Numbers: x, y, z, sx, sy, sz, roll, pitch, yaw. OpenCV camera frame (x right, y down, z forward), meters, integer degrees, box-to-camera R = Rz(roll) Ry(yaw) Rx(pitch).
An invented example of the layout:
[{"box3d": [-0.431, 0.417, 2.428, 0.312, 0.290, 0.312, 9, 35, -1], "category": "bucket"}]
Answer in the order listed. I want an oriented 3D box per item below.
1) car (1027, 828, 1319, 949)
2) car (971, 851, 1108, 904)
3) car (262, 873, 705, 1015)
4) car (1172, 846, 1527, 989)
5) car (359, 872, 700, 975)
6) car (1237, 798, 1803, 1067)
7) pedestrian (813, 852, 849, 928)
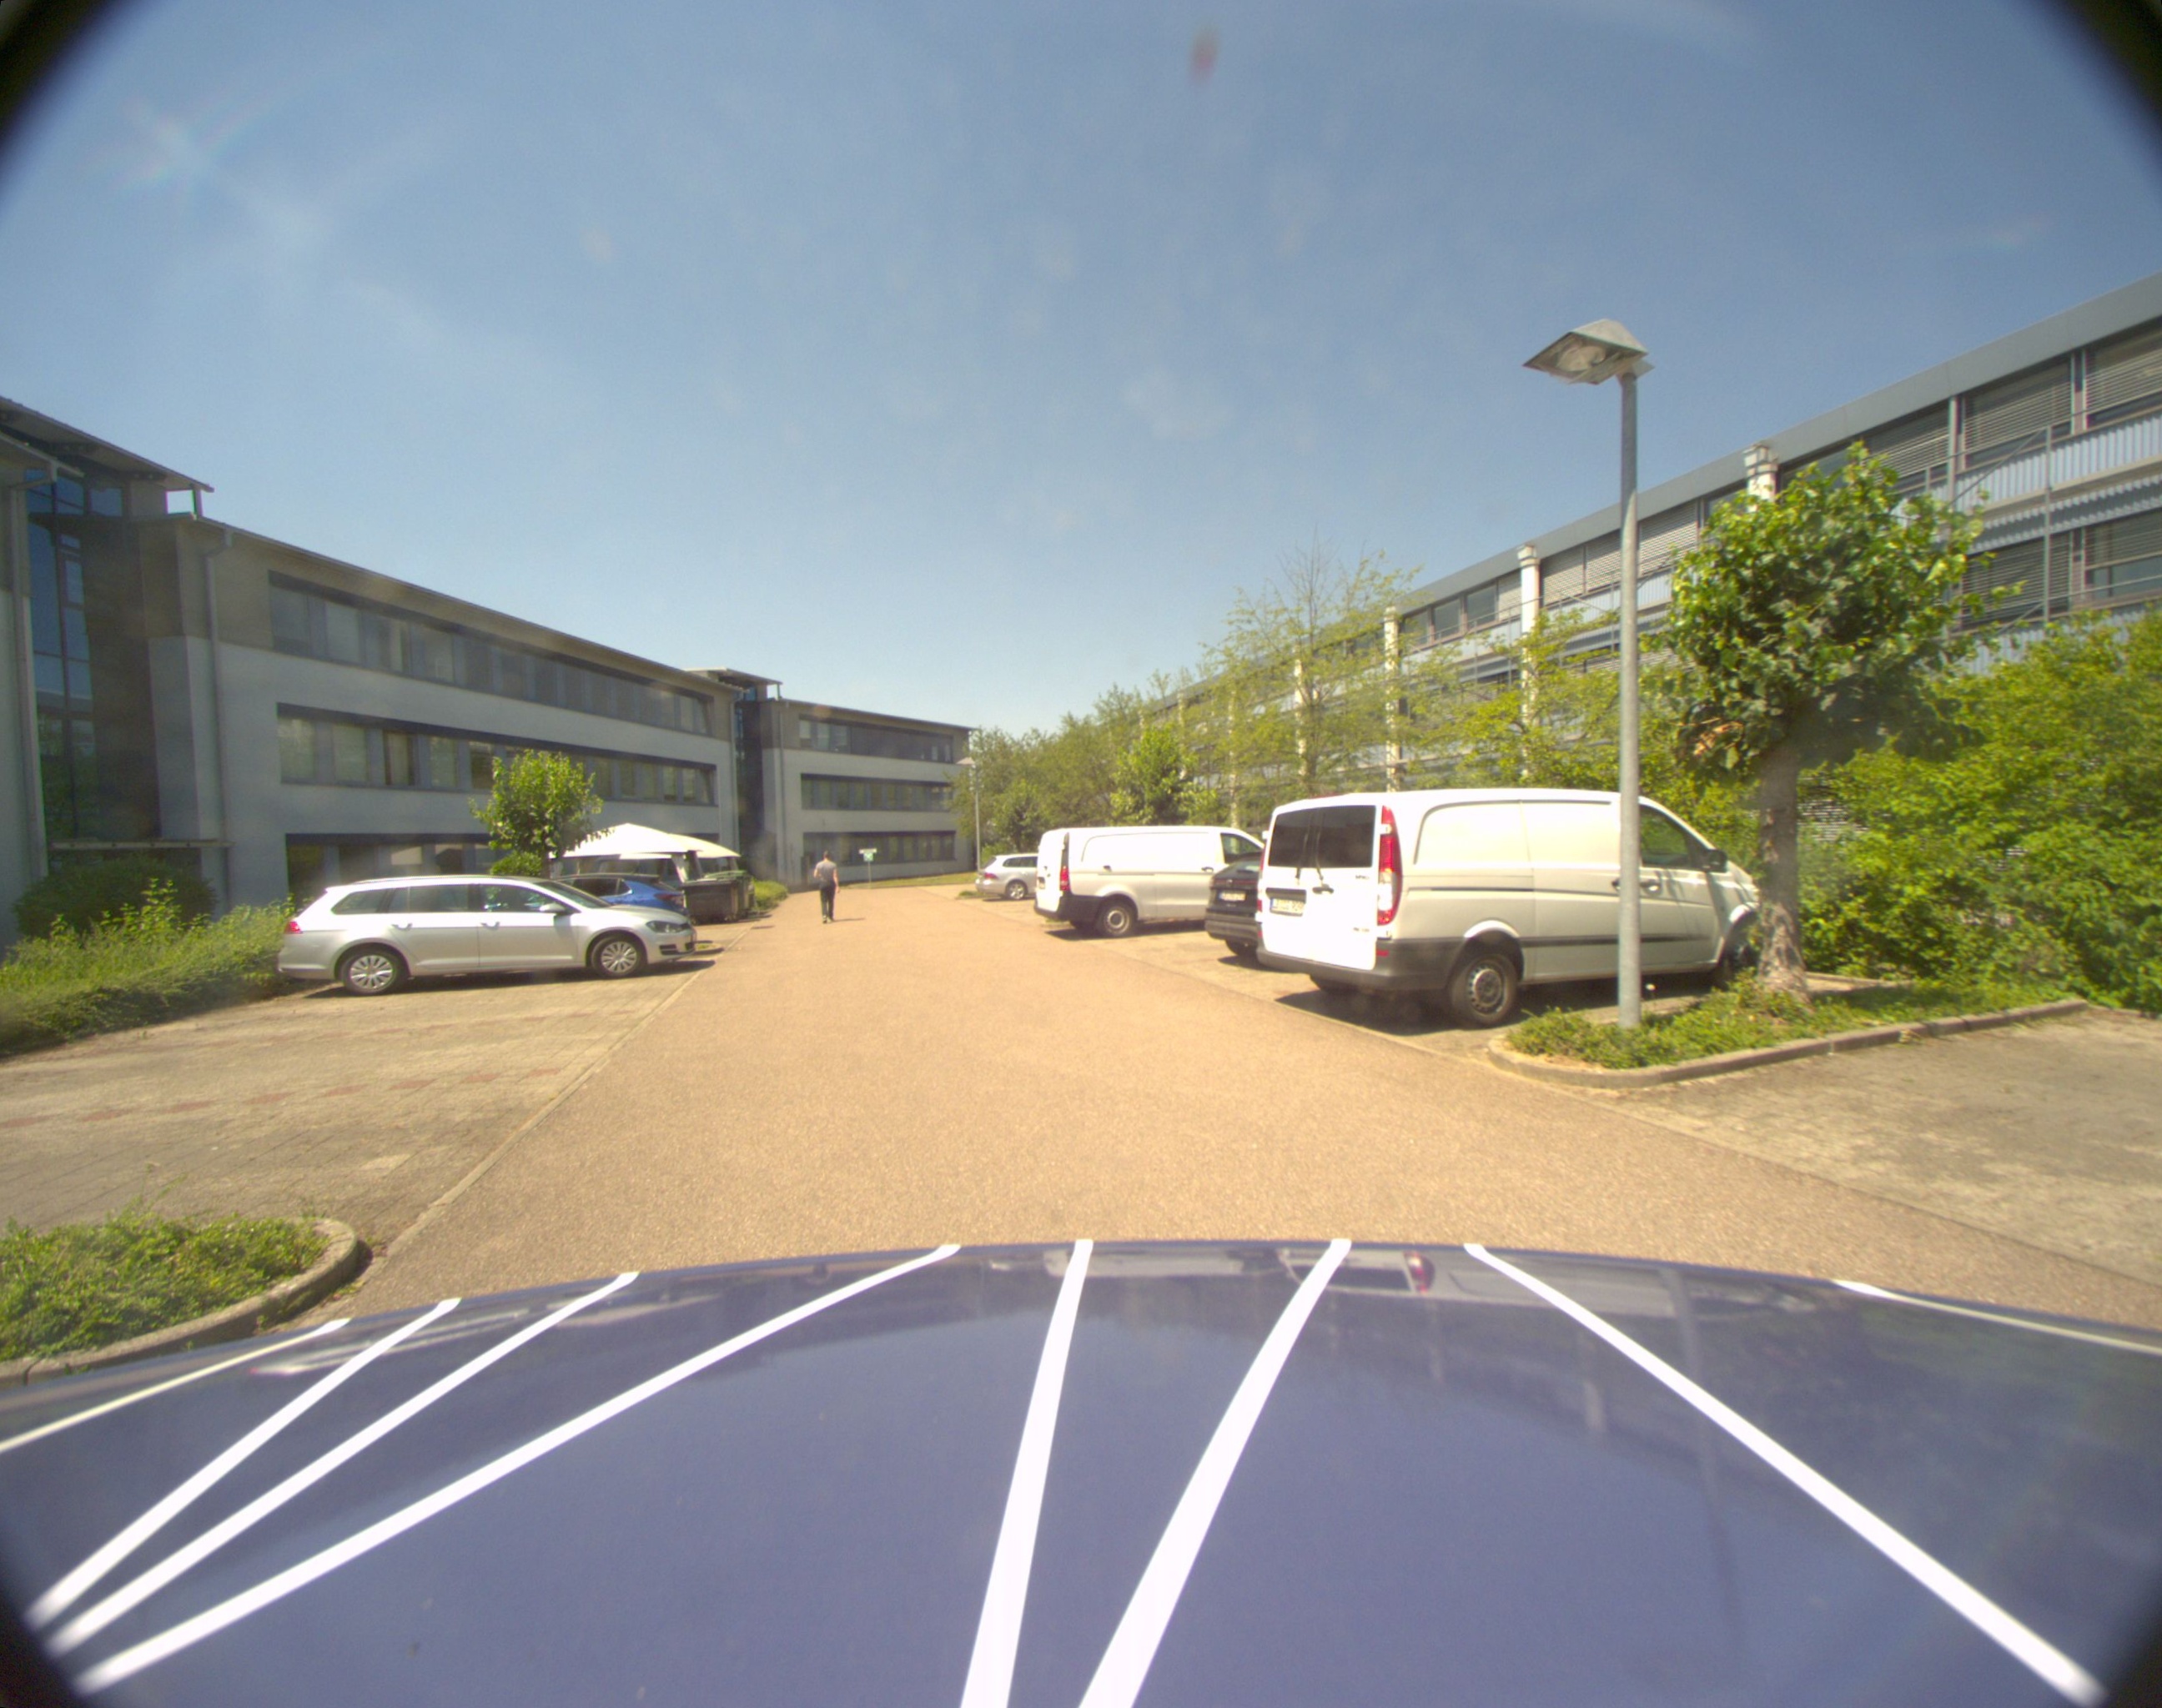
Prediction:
[{"box3d": [1.654, 0.535, 13.901, 4.938, 1.845, 1.854, -2, 1, -17], "category": "car"}, {"box3d": [-1.367, 0.711, 24.487, 4.087, 1.475, 1.737, -2, 1, -16], "category": "car"}, {"box3d": [-7.825, 1.105, 10.555, 4.431, 1.511, 1.854, -1, 0, -19], "category": "car"}, {"box3d": [3.491, 0.706, 9.961, 4.201, 1.475, 1.737, -2, 1, -19], "category": "car"}, {"box3d": [-9.632, 1.146, 13.780, 4.616, 1.485, 1.854, -1, 0, -19], "category": "car"}, {"box3d": [3.995, 0.503, 6.973, 4.681, 1.849, 1.865, -2, 1, -19], "category": "car"}, {"box3d": [-5.993, 0.840, 18.240, 0.699, 1.747, 0.775, -3, 2, -15], "category": "pedestrian"}]
